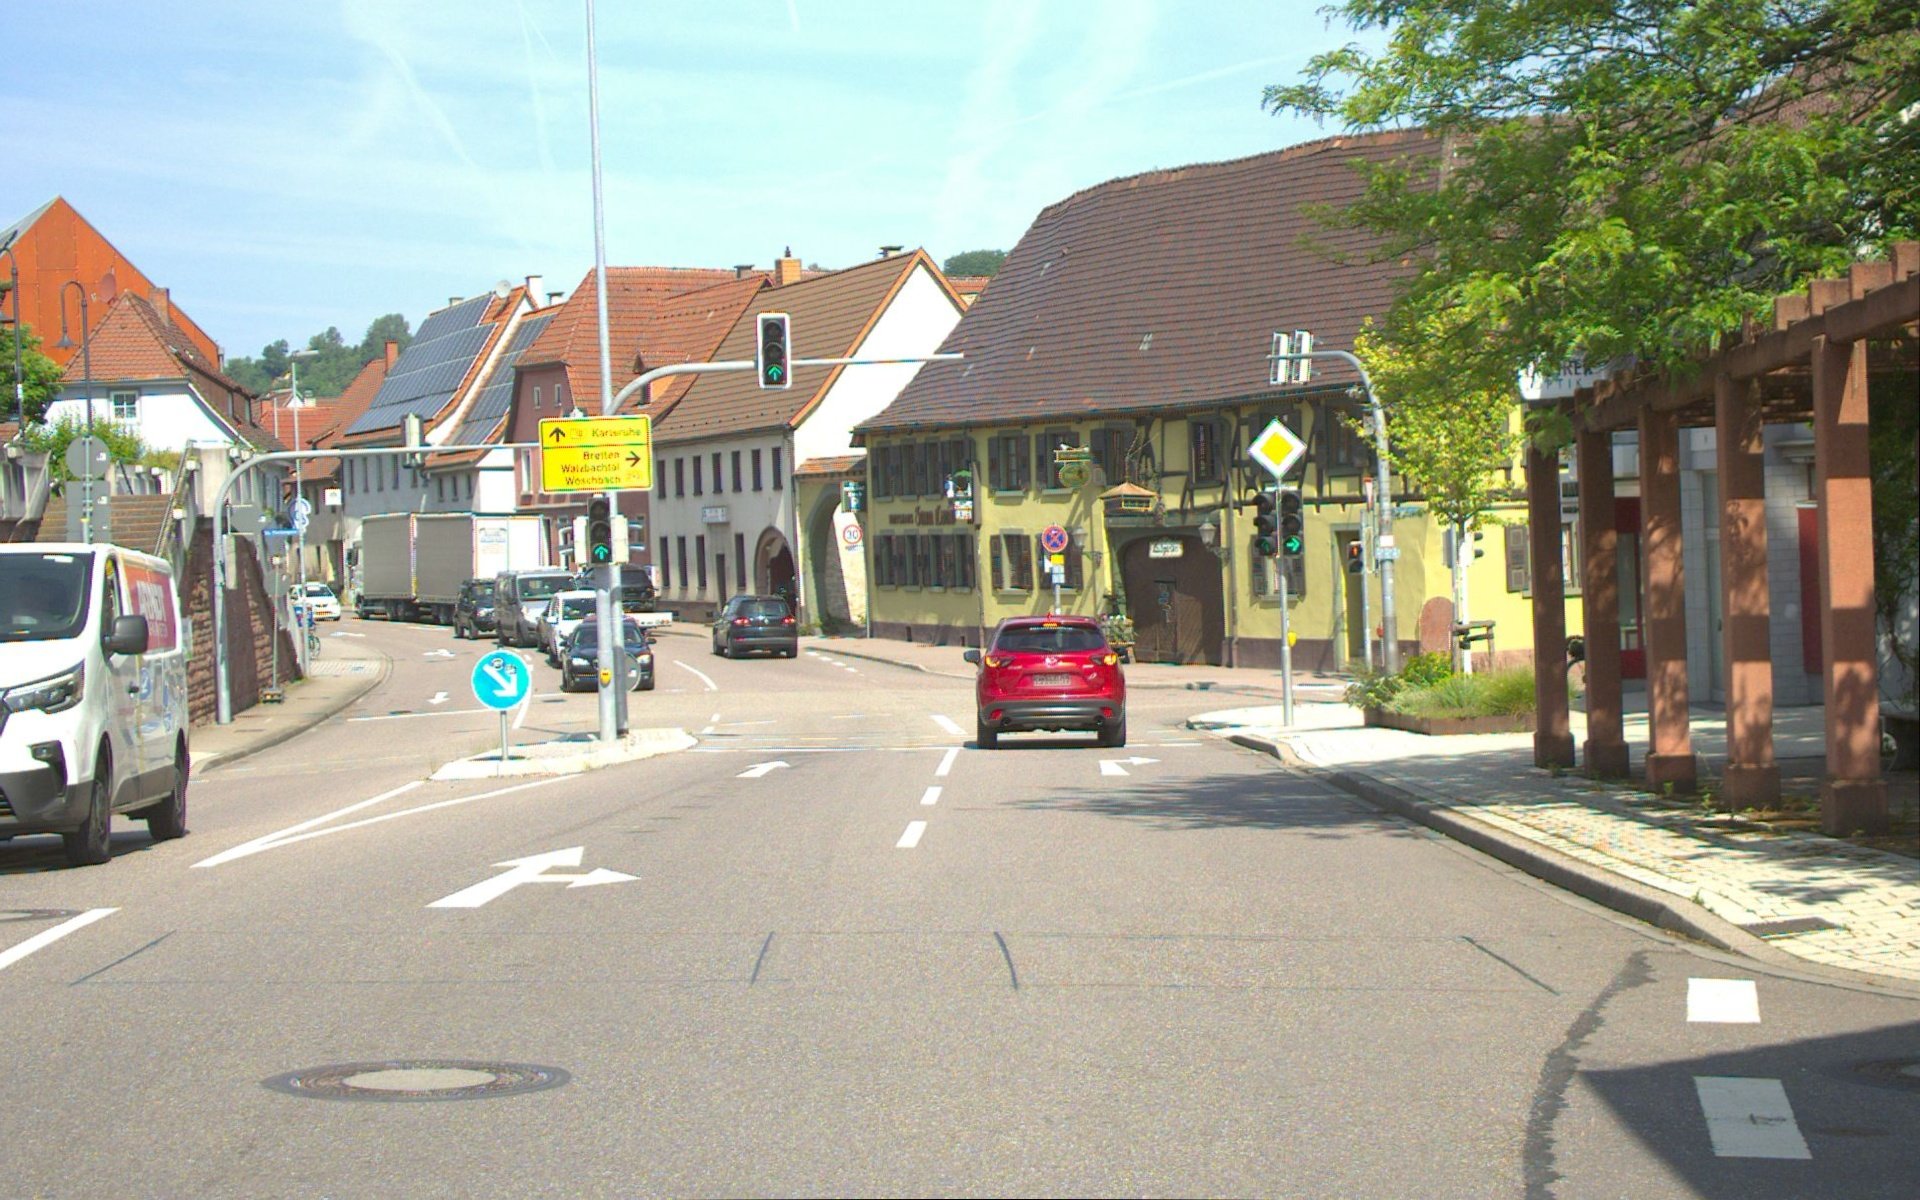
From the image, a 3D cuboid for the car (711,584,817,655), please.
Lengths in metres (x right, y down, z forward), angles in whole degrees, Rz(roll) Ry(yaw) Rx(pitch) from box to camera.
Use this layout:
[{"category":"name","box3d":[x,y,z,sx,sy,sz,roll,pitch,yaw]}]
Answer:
[{"category":"car","box3d":[-5.230,0.500,91.235,1.820,1.733,4.006,-3,1,-18]}]

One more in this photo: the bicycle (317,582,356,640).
[{"category":"bicycle","box3d":[-17.571,0.294,96.882,0.558,1.602,2.562,0,0,2]}]

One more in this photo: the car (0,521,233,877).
[{"category":"car","box3d":[-5.929,0.543,21.404,1.968,1.926,5.315,-2,1,-4]}]

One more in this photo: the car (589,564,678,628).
[{"category":"car","box3d":[-10.376,-0.140,109.174,1.846,2.007,4.001,0,1,-20]}]

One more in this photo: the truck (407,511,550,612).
[{"category":"truck","box3d":[-17.709,-1.393,125.840,3.222,3.537,9.233,0,1,-21]}]

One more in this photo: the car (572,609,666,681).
[{"category":"car","box3d":[-7.512,0.977,75.969,1.820,1.429,4.249,-1,1,-3]}]

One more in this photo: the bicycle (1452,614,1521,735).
[{"category":"bicycle","box3d":[5.976,0.830,39.089,0.529,1.275,1.991,-5,0,5]}]

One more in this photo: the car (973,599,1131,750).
[{"category":"car","box3d":[1.209,0.901,43.473,1.805,1.657,3.812,-2,1,4]}]

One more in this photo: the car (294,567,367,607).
[{"category":"car","box3d":[-25.072,-0.526,136.792,1.785,1.521,4.006,-3,2,-26]}]

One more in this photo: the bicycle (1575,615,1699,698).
[{"category":"bicycle","box3d":[10.693,0.884,54.337,1.803,1.230,0.549,-2,0,1]}]

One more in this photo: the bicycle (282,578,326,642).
[{"category":"bicycle","box3d":[-18.510,0.281,97.047,0.641,1.773,2.670,0,0,2]}]

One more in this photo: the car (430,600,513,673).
[{"category":"car","box3d":[-15.727,1.154,110.503,1.757,2.238,4.554,0,1,-20]}]

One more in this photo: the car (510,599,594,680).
[{"category":"car","box3d":[-10.635,0.995,89.324,1.820,1.899,4.965,-2,2,-10]}]

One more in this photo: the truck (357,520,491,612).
[{"category":"truck","box3d":[-21.172,-1.291,135.177,3.158,3.448,10.715,1,0,-20]}]
